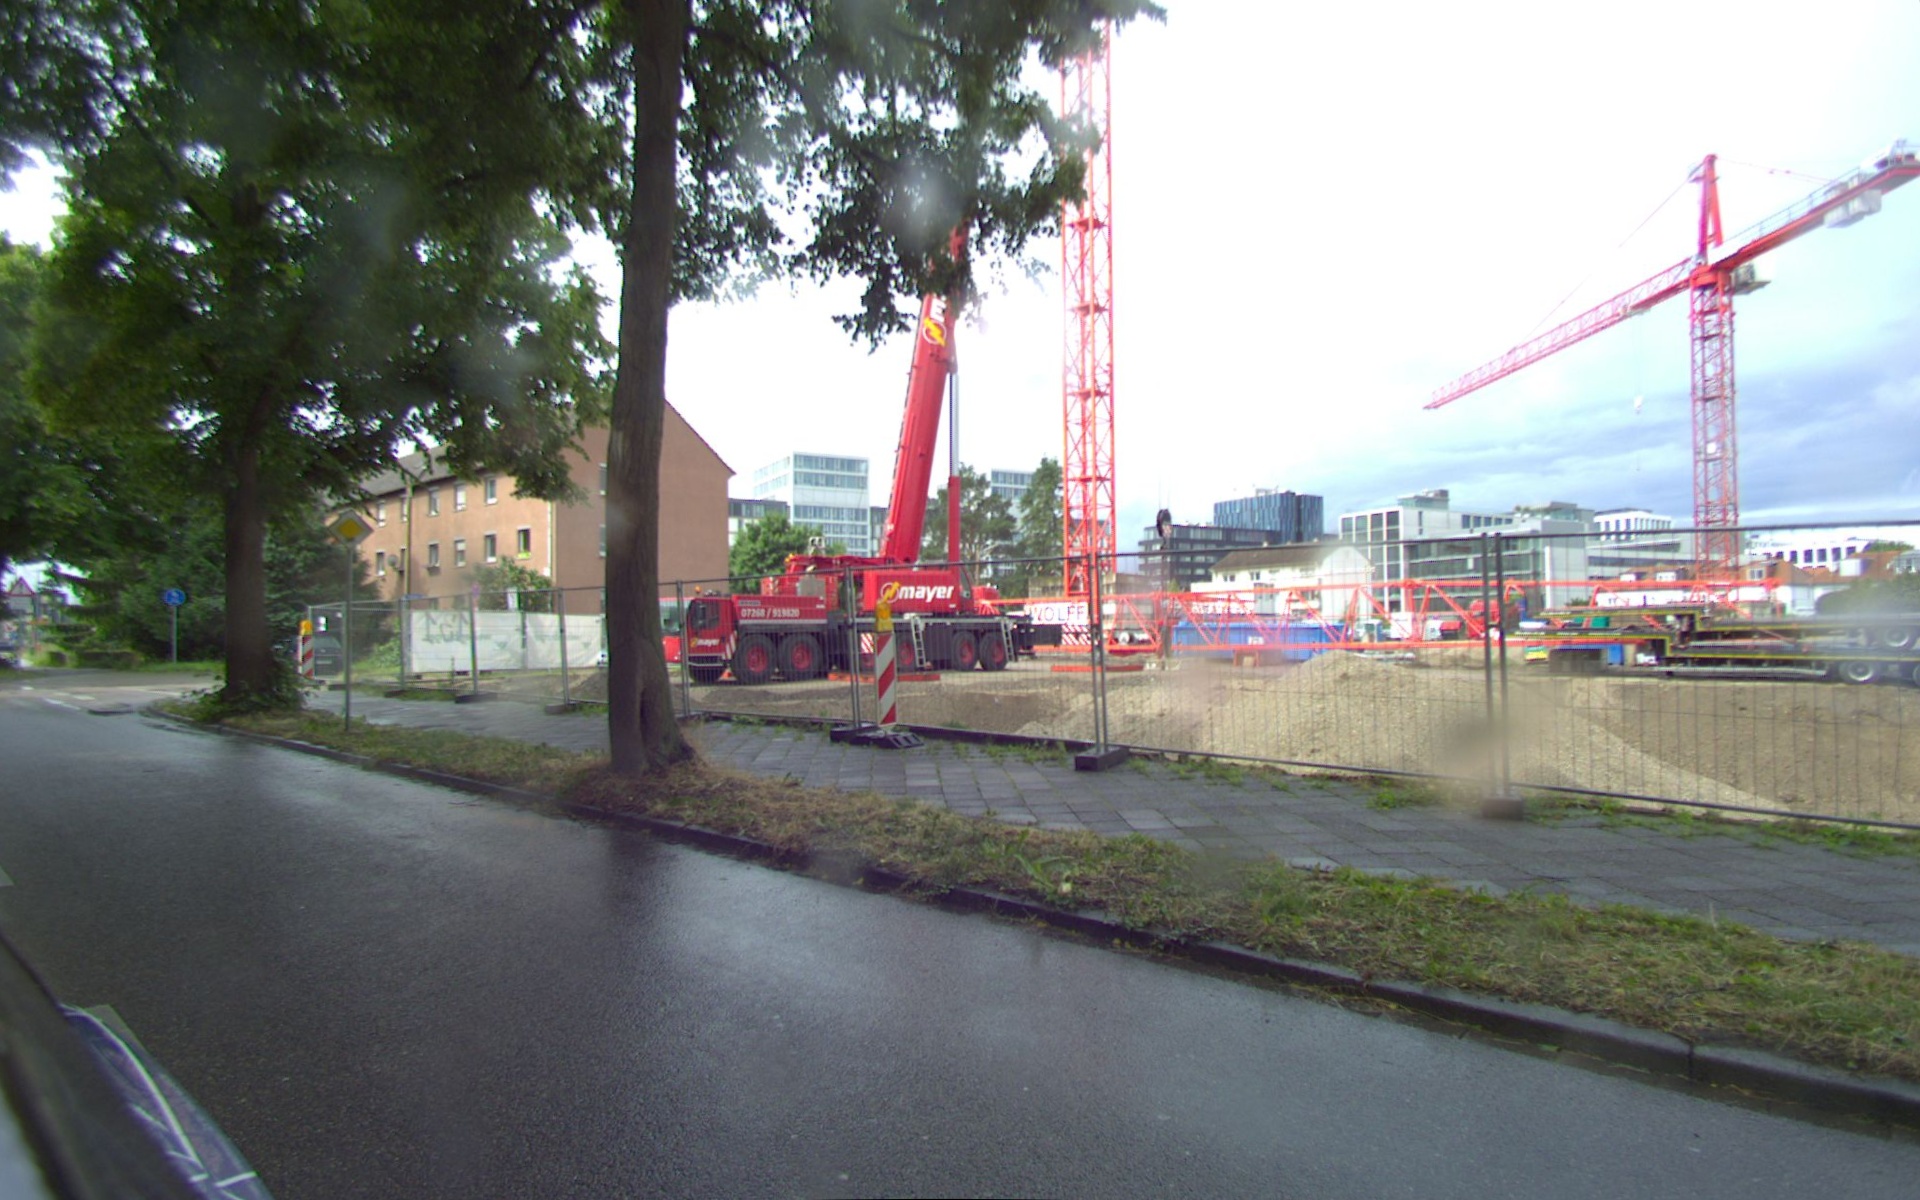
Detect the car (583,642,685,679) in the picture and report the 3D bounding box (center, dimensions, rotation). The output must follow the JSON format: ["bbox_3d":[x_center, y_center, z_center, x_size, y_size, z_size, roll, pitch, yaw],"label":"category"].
[{"bbox_3d":[-13.644,2.507,42.597,1.721,1.424,4.026,-2,-2,29],"label":"car"}]

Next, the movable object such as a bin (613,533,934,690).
[{"bbox_3d":[-5.431,0.399,31.494,3.366,4.147,9.704,-3,-3,43],"label":"movable object such as a bin"}]

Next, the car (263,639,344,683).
[{"bbox_3d":[-24.481,2.226,37.707,3.869,1.431,1.607,0,0,42],"label":"car"}]
